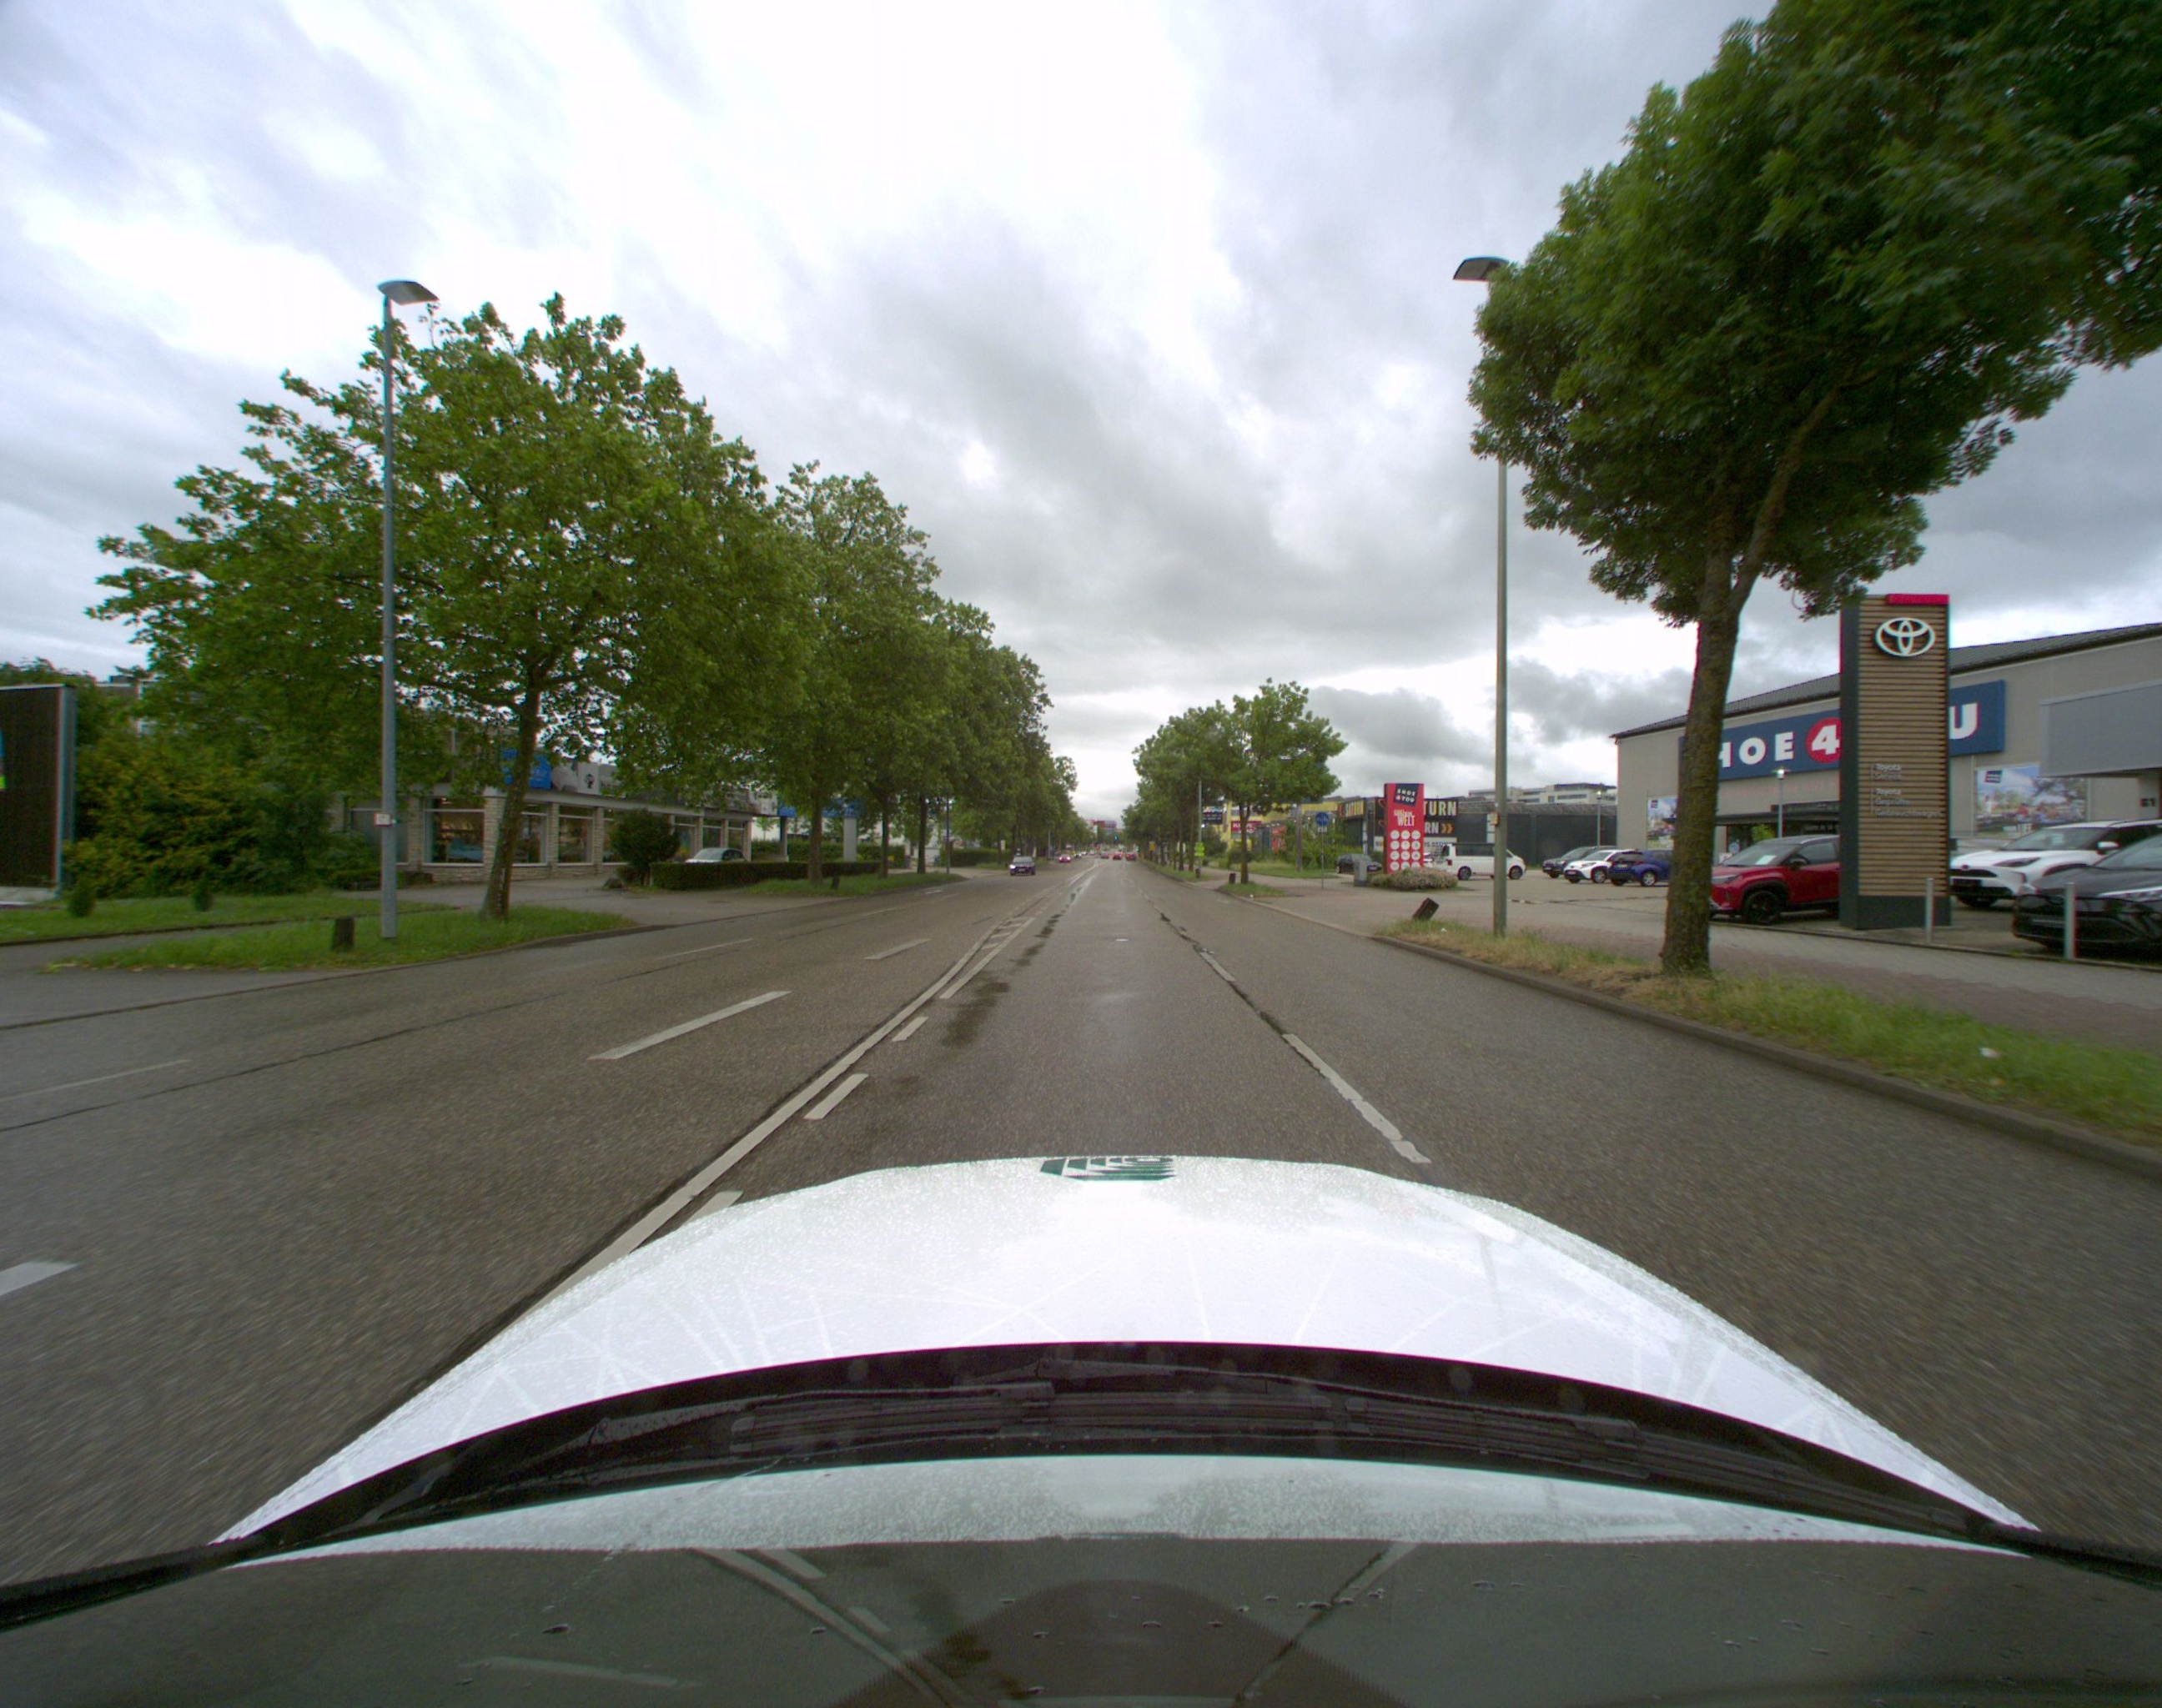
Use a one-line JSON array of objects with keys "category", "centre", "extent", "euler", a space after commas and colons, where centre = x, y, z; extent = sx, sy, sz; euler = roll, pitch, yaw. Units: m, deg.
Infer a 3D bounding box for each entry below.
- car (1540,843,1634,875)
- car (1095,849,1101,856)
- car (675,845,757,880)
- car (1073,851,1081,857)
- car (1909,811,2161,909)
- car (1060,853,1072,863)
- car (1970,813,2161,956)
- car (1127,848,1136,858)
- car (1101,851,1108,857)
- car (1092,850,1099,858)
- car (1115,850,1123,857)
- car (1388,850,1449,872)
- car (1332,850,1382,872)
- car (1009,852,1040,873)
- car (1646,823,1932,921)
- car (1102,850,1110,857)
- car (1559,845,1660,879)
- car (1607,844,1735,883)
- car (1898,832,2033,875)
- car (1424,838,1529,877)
[{"category": "car", "centre": [27.610, 0.254, 44.496], "extent": [4.239, 1.729, 1.738], "euler": [0, 0, -7]}, {"category": "car", "centre": [5.257, -0.516, 251.701], "extent": [1.821, 2.013, 4.000], "euler": [0, 0, 1]}, {"category": "car", "centre": [-16.235, 0.362, 36.427], "extent": [1.816, 1.486, 3.941], "euler": [-1, 0, 1]}, {"category": "car", "centre": [-1.040, -0.005, 214.145], "extent": [1.696, 1.737, 4.005], "euler": [0, 0, 5]}, {"category": "car", "centre": [18.406, 0.085, 15.036], "extent": [4.087, 1.621, 1.884], "euler": [-2, 0, 7]}, {"category": "car", "centre": [-2.387, 0.578, 130.472], "extent": [1.719, 1.517, 3.824], "euler": [0, 0, 3]}, {"category": "car", "centre": [14.190, 0.328, 10.215], "extent": [3.970, 1.647, 1.846], "euler": [-1, 0, 3]}, {"category": "car", "centre": [10.374, -0.122, 167.219], "extent": [1.737, 2.013, 4.004], "euler": [0, 0, 4]}, {"category": "car", "centre": [6.122, 0.020, 209.718], "extent": [1.737, 1.701, 4.004], "euler": [0, 0, 4]}, {"category": "car", "centre": [4.018, -0.023, 222.924], "extent": [1.986, 2.013, 4.002], "euler": [0, 0, 2]}, {"category": "car", "centre": [9.331, -0.169, 200.301], "extent": [1.737, 1.737, 4.004], "euler": [0, 0, 4]}, {"category": "car", "centre": [23.813, 0.439, 57.681], "extent": [1.878, 1.468, 4.941], "euler": [0, 1, -7]}, {"category": "car", "centre": [18.857, 0.473, 55.746], "extent": [1.576, 1.428, 4.256], "euler": [0, 1, -7]}, {"category": "car", "centre": [-4.126, 0.589, 59.950], "extent": [1.796, 1.463, 3.849], "euler": [-1, 0, 3]}, {"category": "car", "centre": [13.461, 0.336, 15.678], "extent": [3.825, 1.603, 1.797], "euler": [-3, 0, 3]}, {"category": "car", "centre": [6.897, -0.249, 224.402], "extent": [1.883, 1.876, 4.126], "euler": [0, 0, 2]}, {"category": "car", "centre": [24.024, 0.343, 37.076], "extent": [3.634, 1.514, 1.672], "euler": [0, 0, -7]}, {"category": "car", "centre": [23.492, 0.370, 32.521], "extent": [3.980, 1.514, 1.756], "euler": [0, 0, -5]}, {"category": "car", "centre": [39.332, -0.013, 36.275], "extent": [4.238, 1.860, 1.932], "euler": [0, 0, -6]}, {"category": "car", "centre": [21.228, 0.203, 43.798], "extent": [4.816, 2.014, 1.985], "euler": [0, -1, -7]}]
